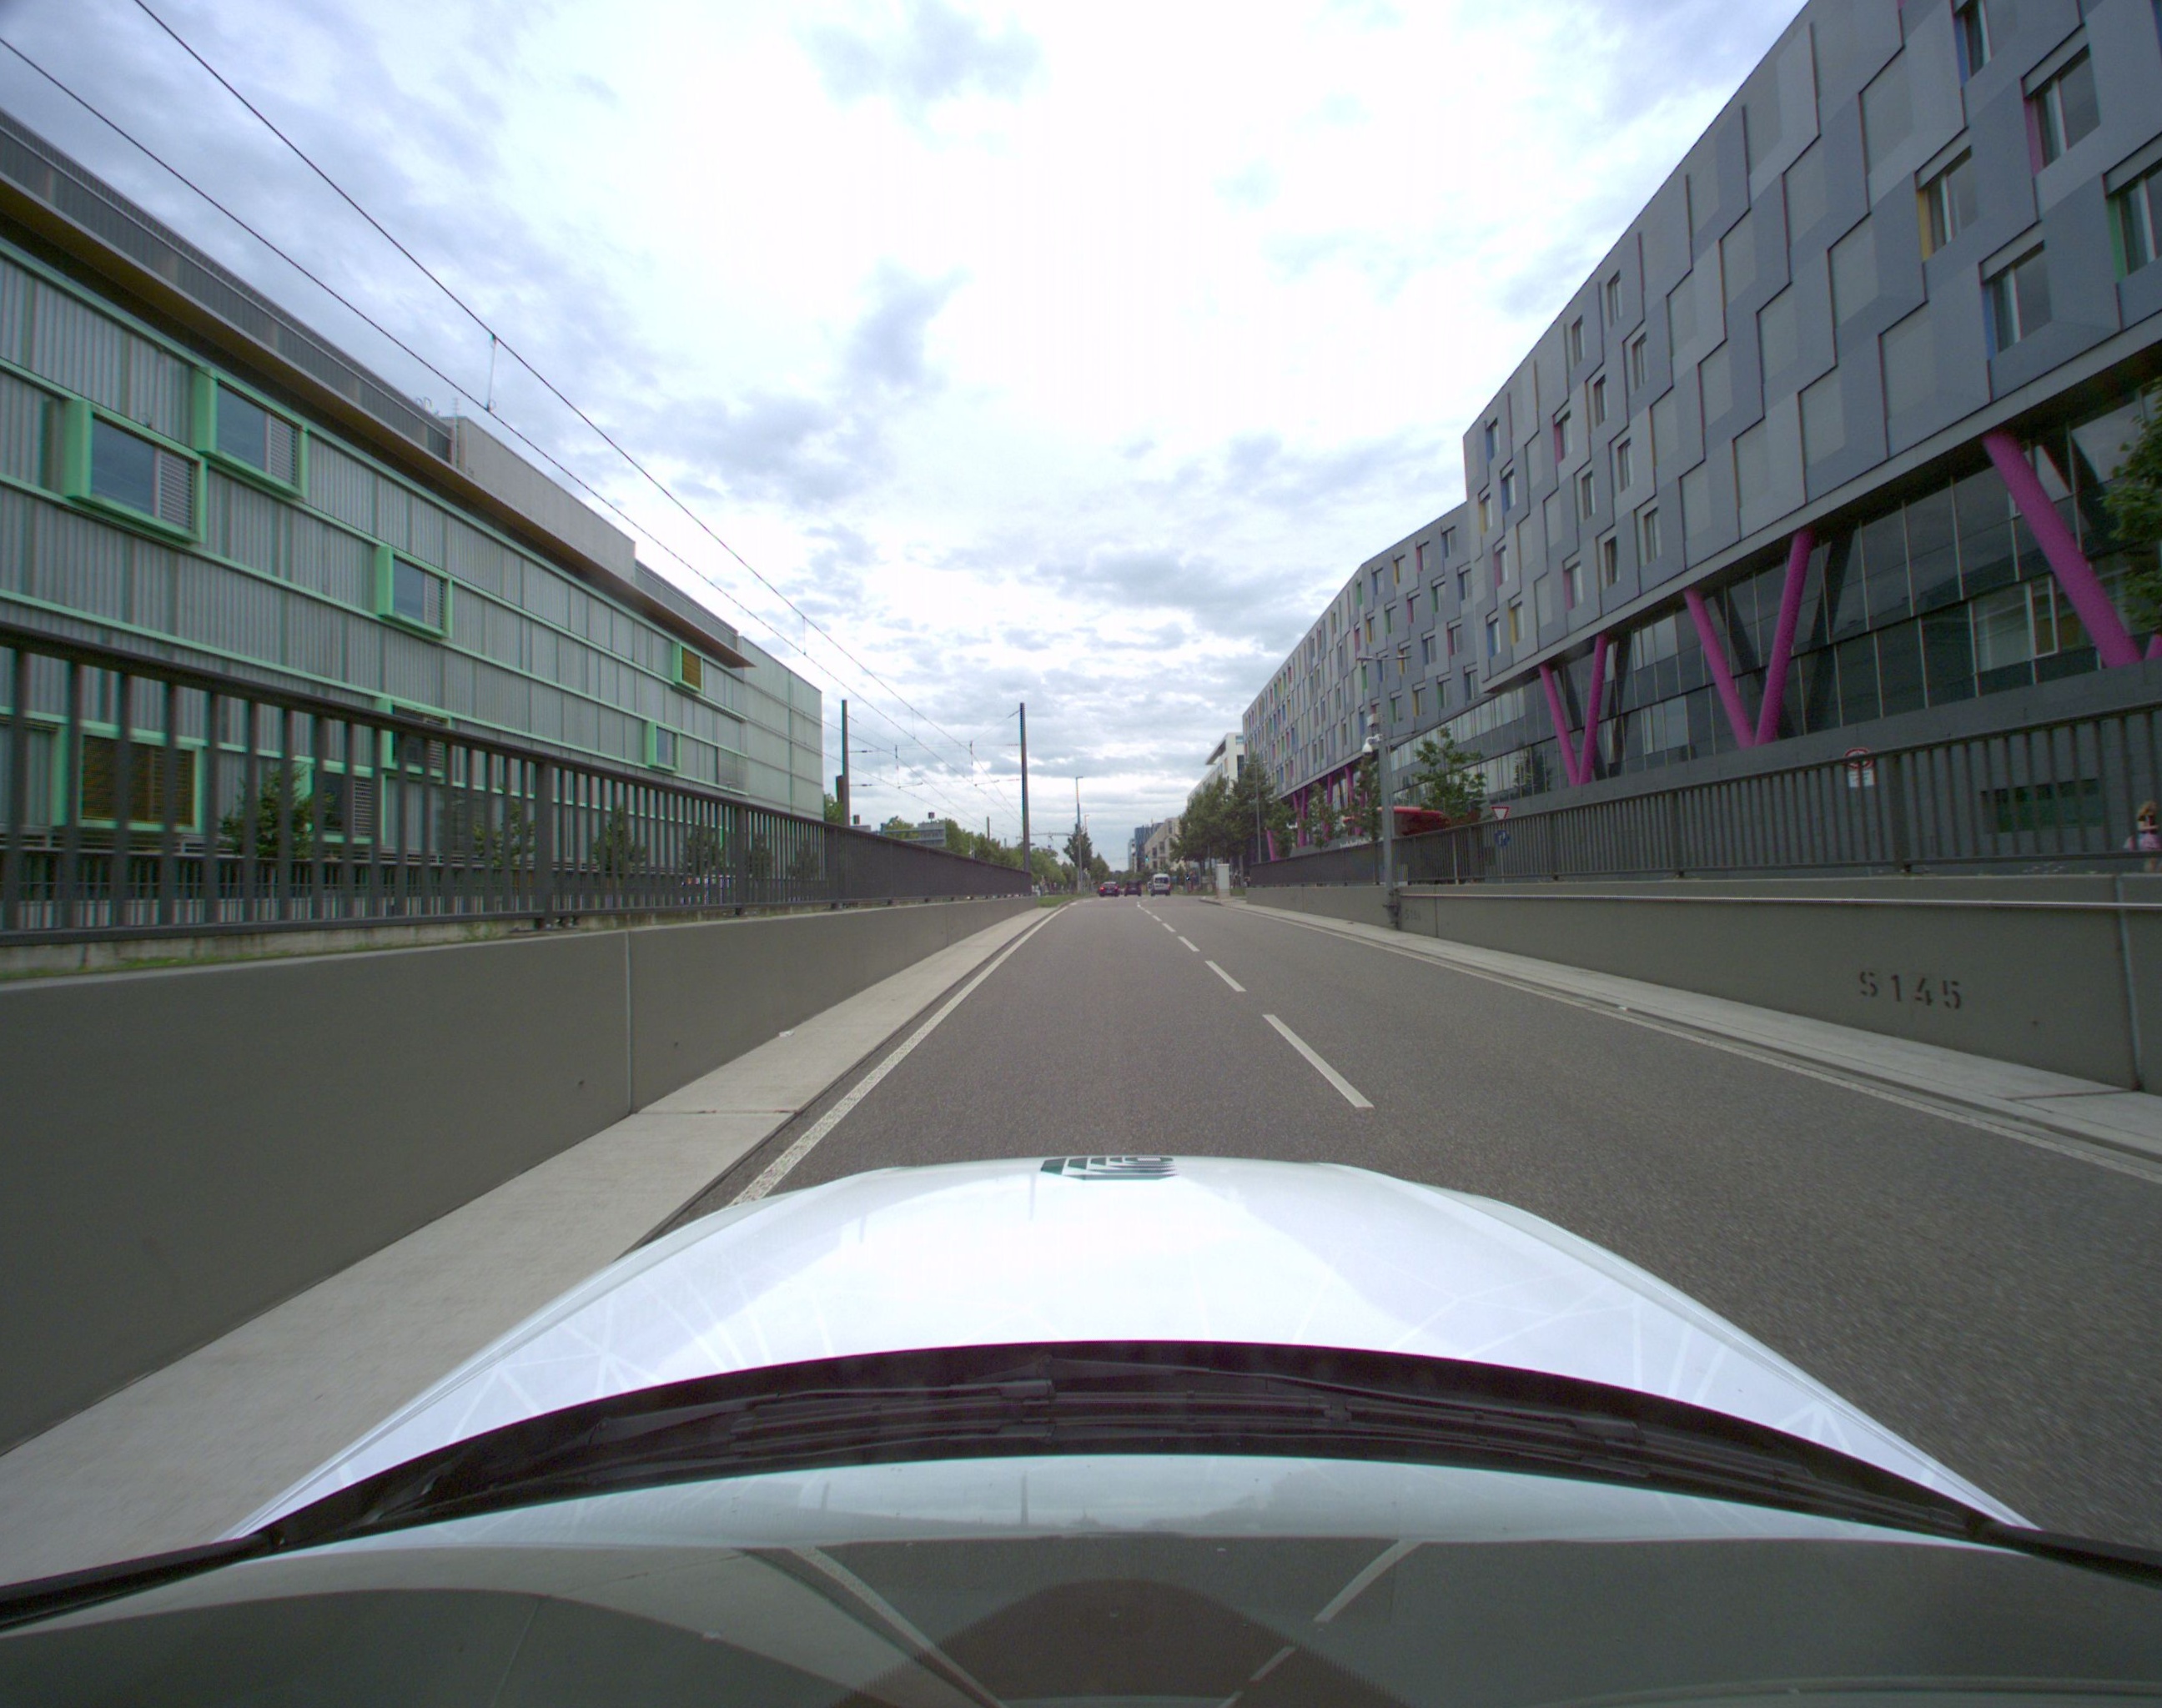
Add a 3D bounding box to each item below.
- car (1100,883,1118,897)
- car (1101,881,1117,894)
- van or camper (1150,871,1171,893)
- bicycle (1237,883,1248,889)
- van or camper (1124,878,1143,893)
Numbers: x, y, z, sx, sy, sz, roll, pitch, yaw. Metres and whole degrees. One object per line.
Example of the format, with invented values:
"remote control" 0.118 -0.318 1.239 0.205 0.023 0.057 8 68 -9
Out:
"car" 2.851 3.622 82.340 1.737 1.417 4.000 -1 -3 1
"car" 3.693 4.420 107.829 1.985 1.682 4.004 -1 -2 4
"van or camper" 9.122 3.212 93.528 2.101 2.356 4.925 -1 -1 2
"bicycle" 28.337 5.606 142.774 1.784 1.086 0.618 -2 -3 3
"van or camper" 6.022 3.590 93.702 1.986 1.615 4.791 -1 -2 2
